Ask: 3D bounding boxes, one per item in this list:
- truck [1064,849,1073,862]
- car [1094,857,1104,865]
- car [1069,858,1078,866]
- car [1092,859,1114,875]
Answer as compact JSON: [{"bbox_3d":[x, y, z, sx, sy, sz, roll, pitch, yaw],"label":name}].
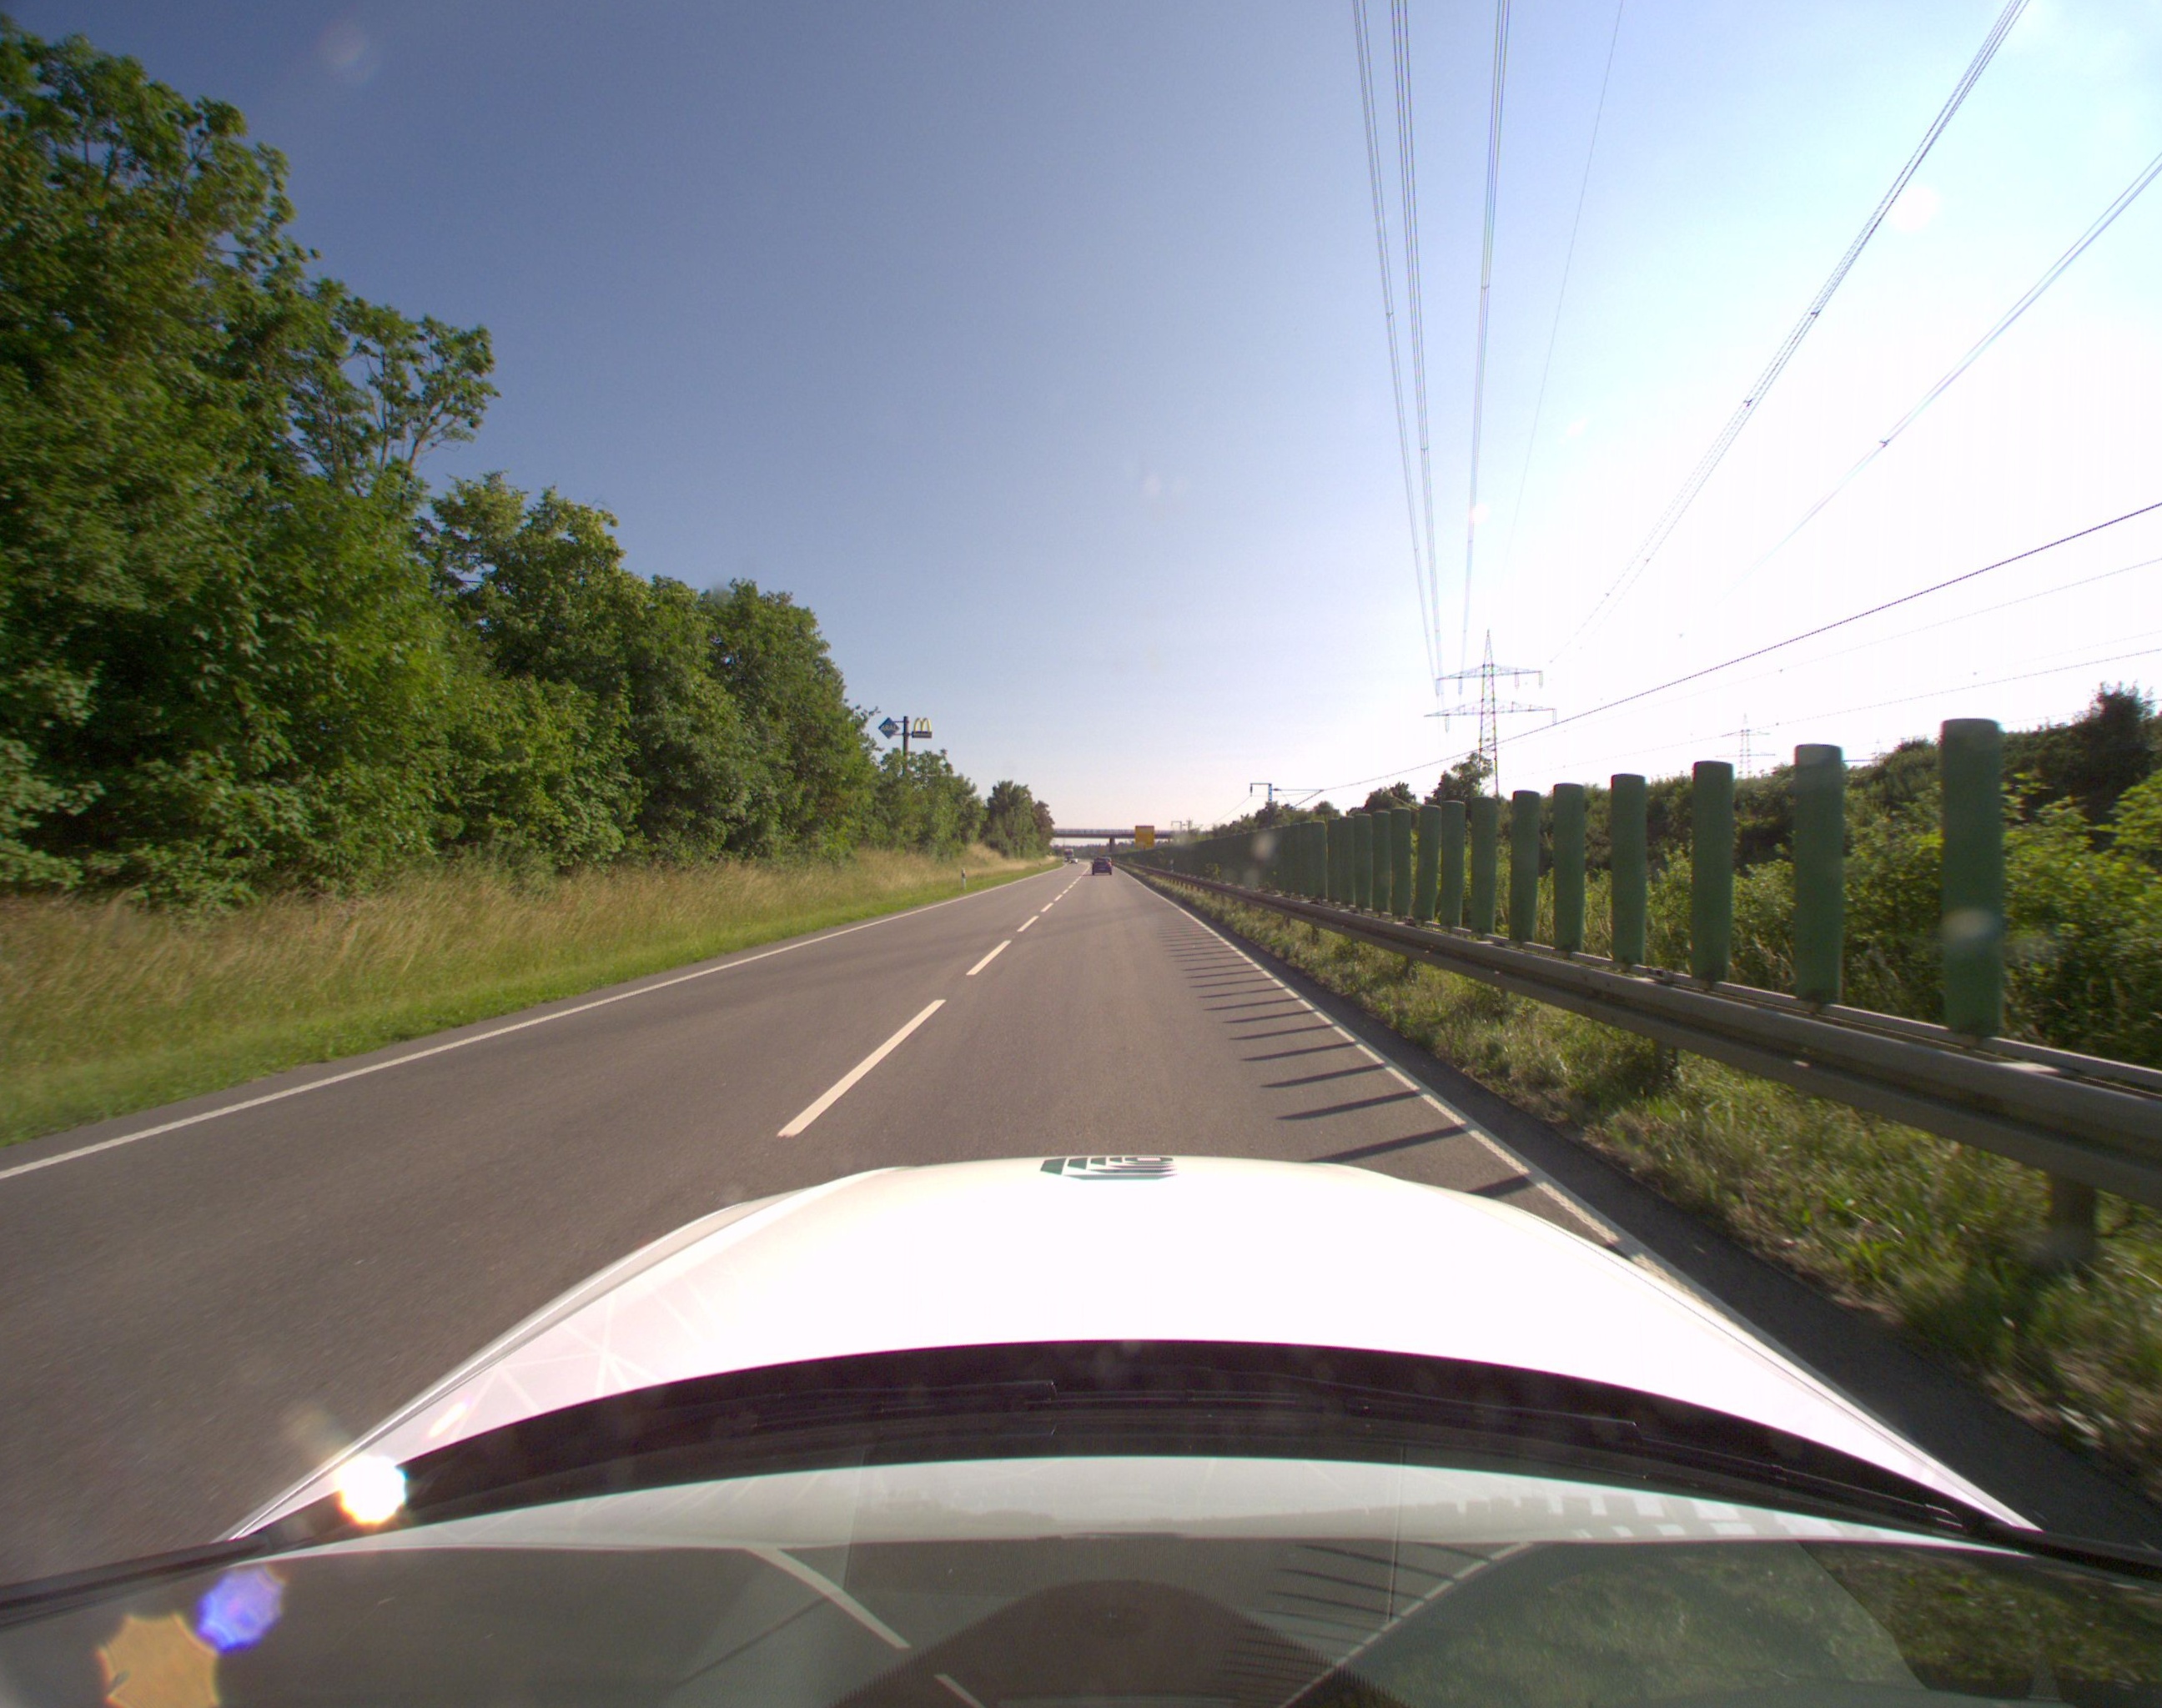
[{"bbox_3d":[-3.689,0.475,238.674,2.551,3.688,10.486,-1,0,0],"label":"truck"},{"bbox_3d":[3.488,1.365,159.157,1.889,1.418,3.999,-1,-1,0],"label":"car"},{"bbox_3d":[-1.640,1.710,170.019,1.790,1.593,3.999,-1,-1,0],"label":"car"},{"bbox_3d":[1.785,1.095,67.208,1.658,1.261,3.999,-1,-1,0],"label":"car"}]
